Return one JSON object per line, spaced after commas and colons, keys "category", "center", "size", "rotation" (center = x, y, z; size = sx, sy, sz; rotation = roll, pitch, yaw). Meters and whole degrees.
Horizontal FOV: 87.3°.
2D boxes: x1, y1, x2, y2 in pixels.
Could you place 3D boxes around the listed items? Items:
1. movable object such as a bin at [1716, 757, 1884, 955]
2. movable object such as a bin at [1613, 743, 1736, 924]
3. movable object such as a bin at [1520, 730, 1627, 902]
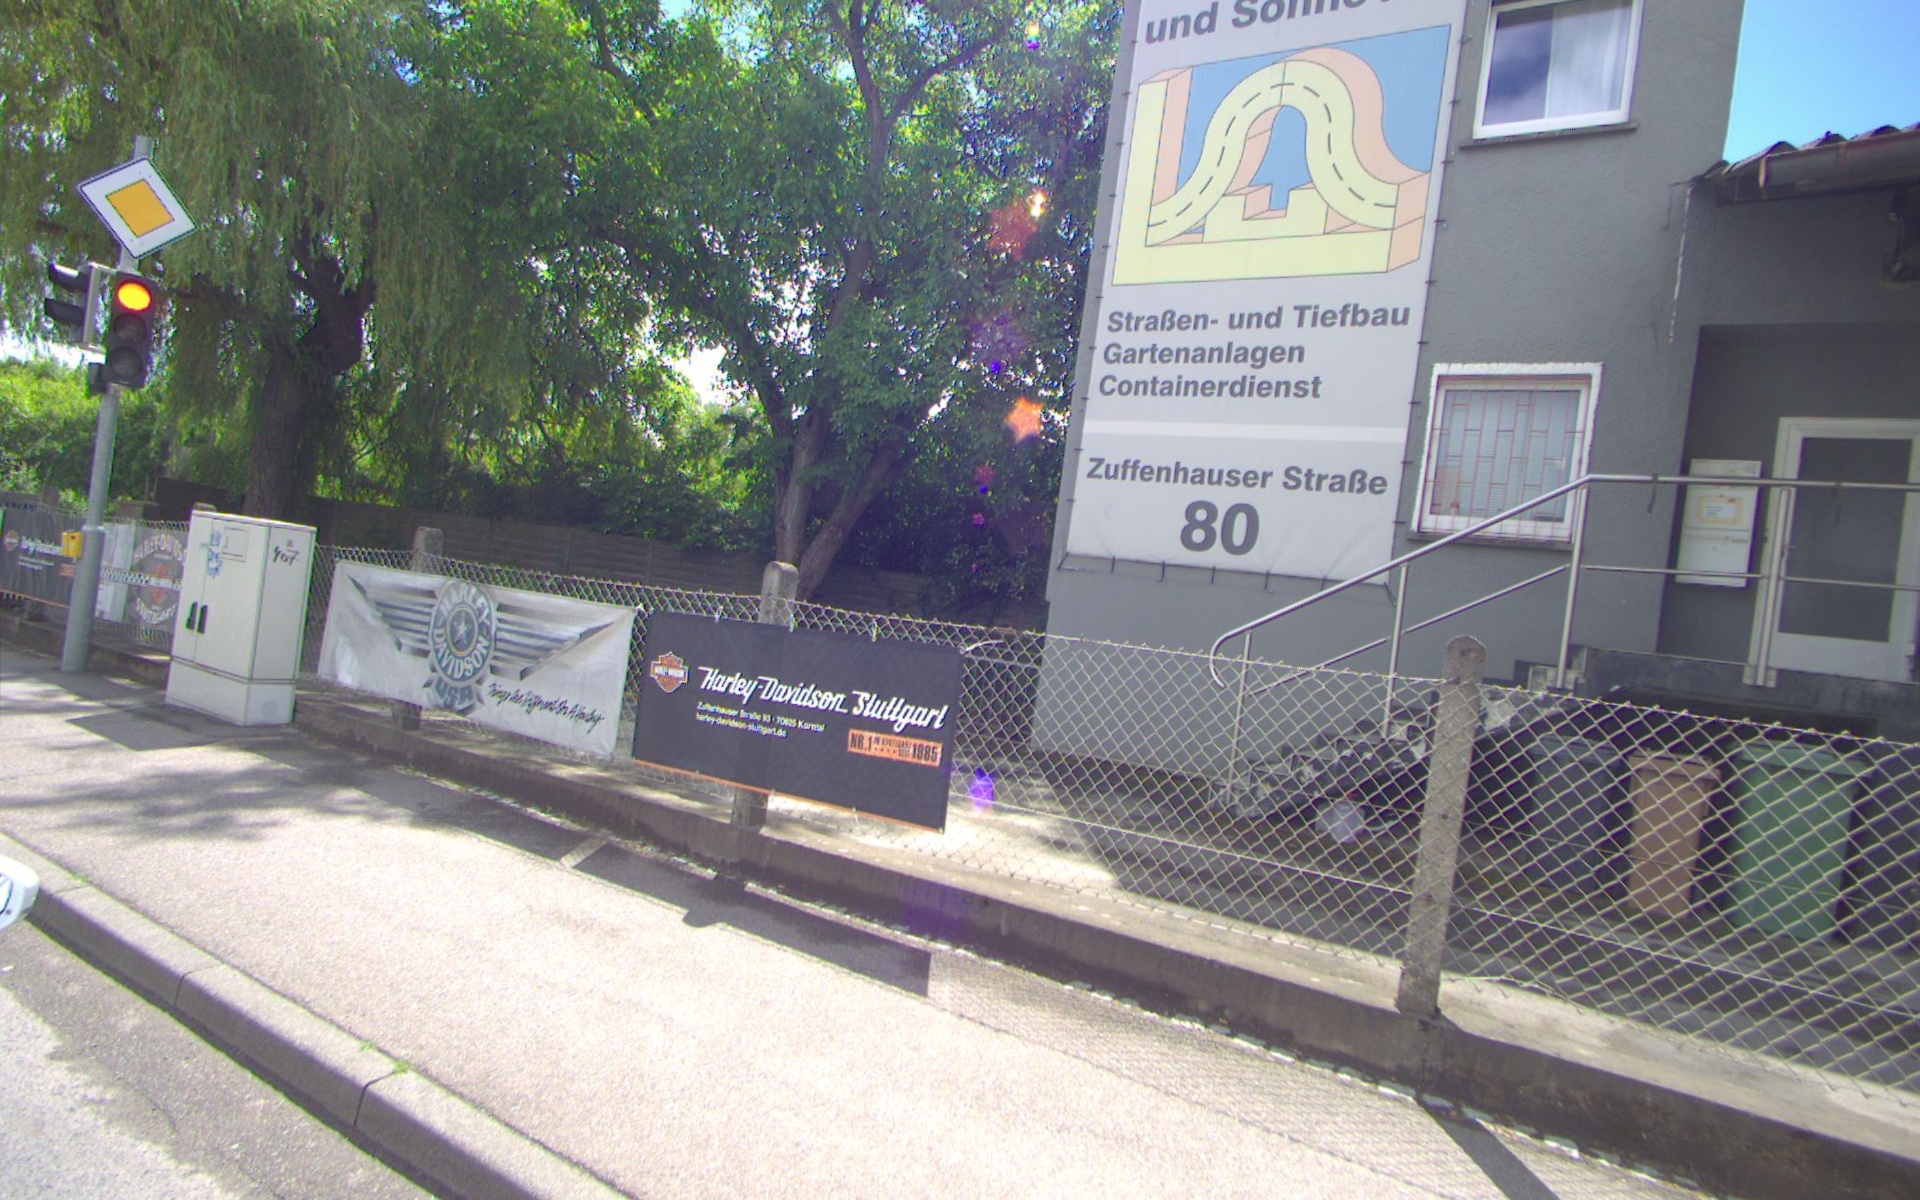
{"category": "movable object such as a bin", "center": [4.759, 1.424, 5.735], "size": [0.574, 0.941, 0.482], "rotation": [6, -1, 30]}
{"category": "movable object such as a bin", "center": [4.263, 1.370, 6.026], "size": [0.466, 0.941, 0.482], "rotation": [7, -1, 30]}
{"category": "movable object such as a bin", "center": [3.818, 1.321, 6.289], "size": [0.466, 0.941, 0.482], "rotation": [7, -1, 30]}
